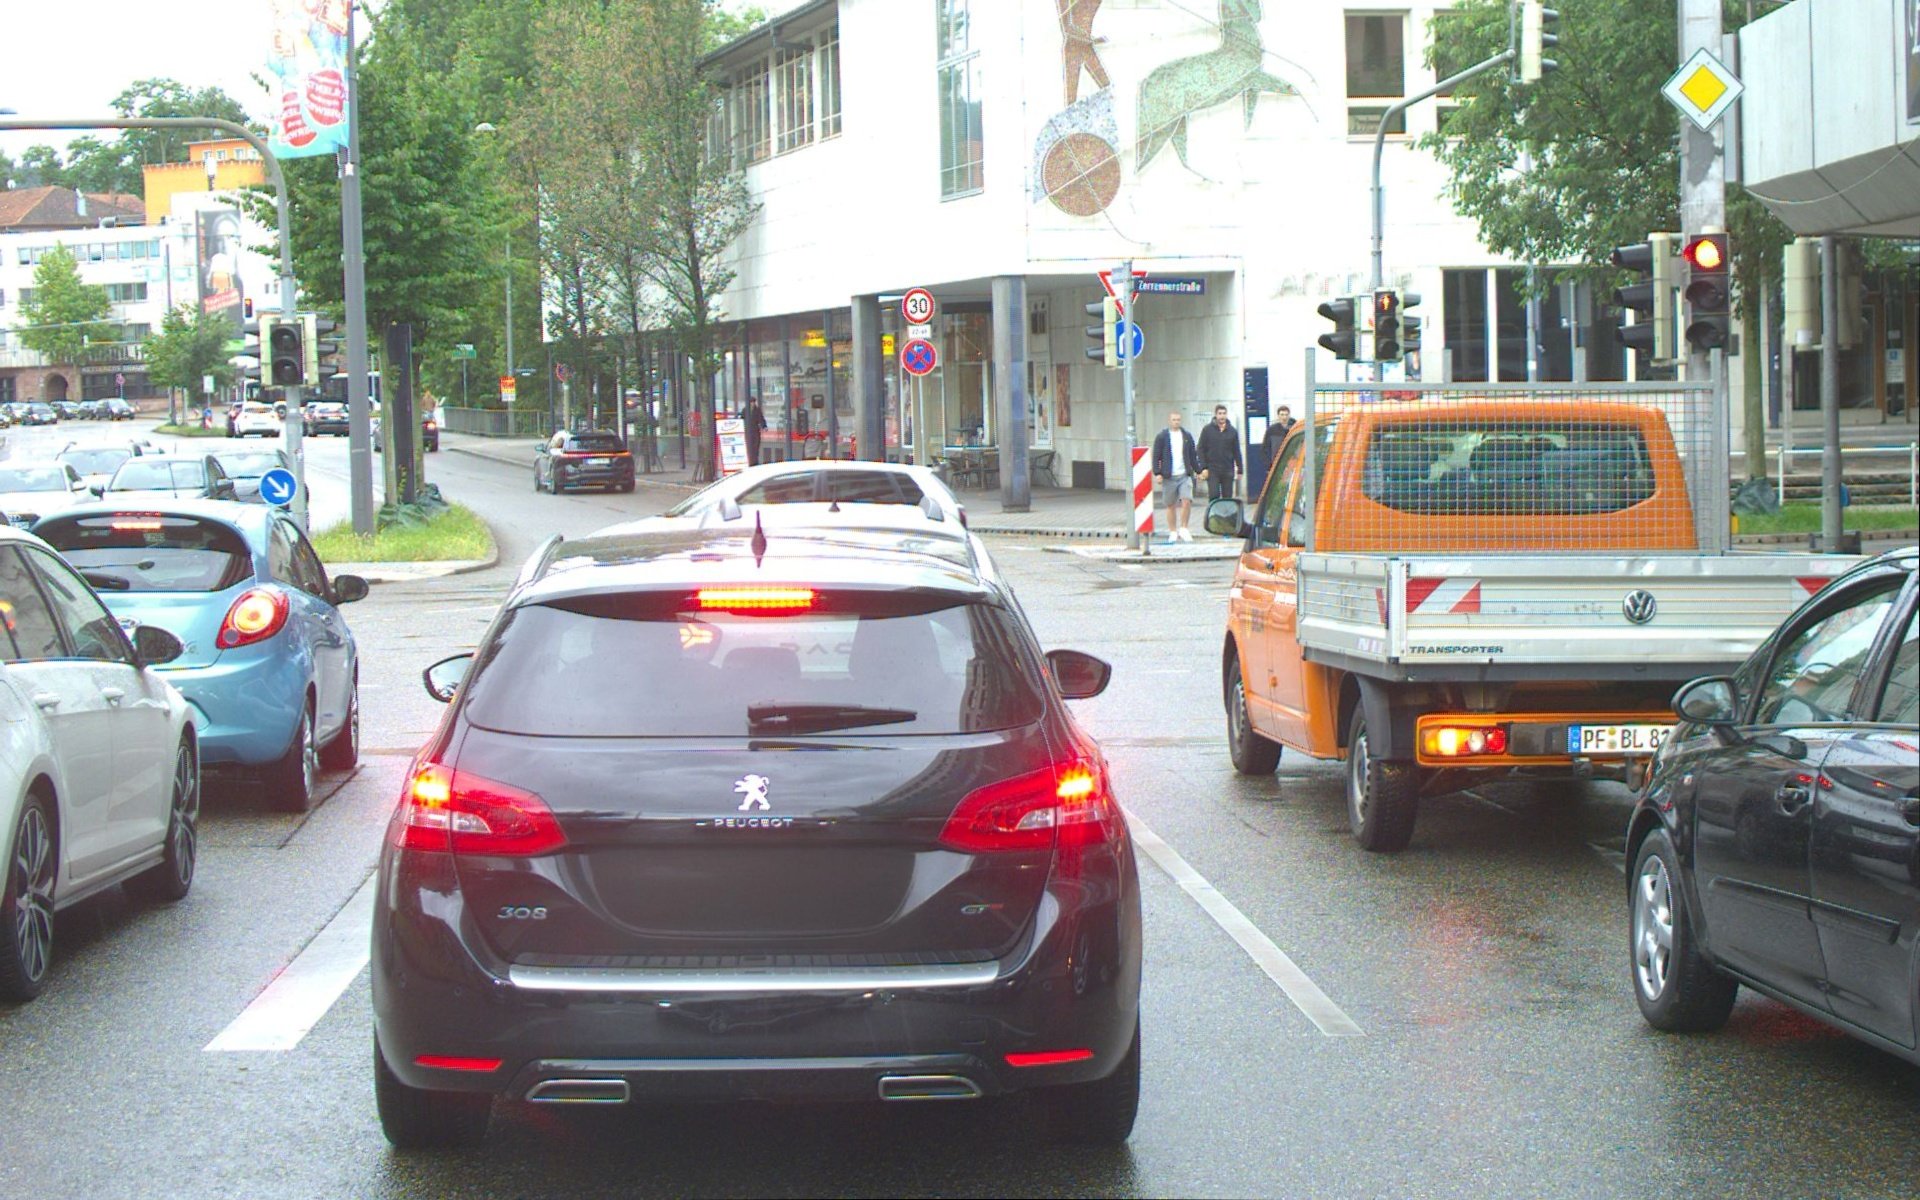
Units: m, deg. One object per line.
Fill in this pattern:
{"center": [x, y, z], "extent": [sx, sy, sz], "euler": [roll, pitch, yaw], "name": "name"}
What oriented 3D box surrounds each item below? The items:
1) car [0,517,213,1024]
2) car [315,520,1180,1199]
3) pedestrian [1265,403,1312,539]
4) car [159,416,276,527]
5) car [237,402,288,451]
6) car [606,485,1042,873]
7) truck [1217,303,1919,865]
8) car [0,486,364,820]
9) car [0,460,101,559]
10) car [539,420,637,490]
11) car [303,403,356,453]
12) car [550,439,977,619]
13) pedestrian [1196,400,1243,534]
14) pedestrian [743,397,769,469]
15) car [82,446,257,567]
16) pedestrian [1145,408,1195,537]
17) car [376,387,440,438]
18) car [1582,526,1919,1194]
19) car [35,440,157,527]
{"center": [-3.716, 0.450, 11.456], "extent": [1.777, 1.424, 3.843], "euler": [0, 2, -3], "name": "car"}
{"center": [-0.507, 0.526, 9.035], "extent": [1.777, 1.424, 3.843], "euler": [0, 2, -2], "name": "car"}
{"center": [4.648, -1.818, 48.585], "extent": [0.637, 1.891, 0.733], "euler": [0, 0, 6], "name": "pedestrian"}
{"center": [-11.982, -2.049, 55.655], "extent": [1.744, 1.634, 4.001], "euler": [1, 0, -11], "name": "car"}
{"center": [-29.626, -7.354, 146.014], "extent": [1.705, 1.875, 4.001], "euler": [1, 0, -18], "name": "car"}
{"center": [-0.561, 0.248, 15.357], "extent": [1.696, 1.481, 3.794], "euler": [1, 2, -1], "name": "car"}
{"center": [2.587, -0.160, 15.860], "extent": [2.177, 2.165, 5.021], "euler": [1, 2, -3], "name": "truck"}
{"center": [-3.990, 0.188, 17.421], "extent": [1.632, 1.481, 3.610], "euler": [0, 2, -5], "name": "car"}
{"center": [-14.577, -1.449, 54.019], "extent": [1.632, 1.481, 3.611], "euler": [0, 2, -7], "name": "car"}
{"center": [-8.545, -3.340, 78.642], "extent": [1.787, 1.449, 4.508], "euler": [-3, 4, -11], "name": "car"}
{"center": [-27.008, -7.359, 147.159], "extent": [1.705, 1.929, 4.001], "euler": [1, 0, -18], "name": "car"}
{"center": [-1.901, -0.669, 32.928], "extent": [3.740, 1.463, 1.638], "euler": [-3, 0, -15], "name": "car"}
{"center": [3.710, -1.895, 49.145], "extent": [0.637, 1.891, 0.733], "euler": [0, 0, 6], "name": "pedestrian"}
{"center": [-5.029, -4.113, 84.732], "extent": [0.468, 1.742, 0.541], "euler": [1, 0, -21], "name": "pedestrian"}
{"center": [-10.965, -1.265, 47.901], "extent": [1.744, 1.574, 4.000], "euler": [1, 0, -4], "name": "car"}
{"center": [2.886, -1.746, 47.233], "extent": [0.637, 1.752, 0.733], "euler": [0, 0, 6], "name": "pedestrian"}
{"center": [-19.020, -6.450, 118.341], "extent": [1.724, 1.485, 4.734], "euler": [1, 0, -14], "name": "car"}
{"center": [2.838, 0.554, 8.665], "extent": [1.616, 1.424, 3.843], "euler": [0, 2, -3], "name": "car"}
{"center": [-15.322, -2.079, 61.112], "extent": [1.632, 1.481, 3.611], "euler": [0, 2, -7], "name": "car"}
